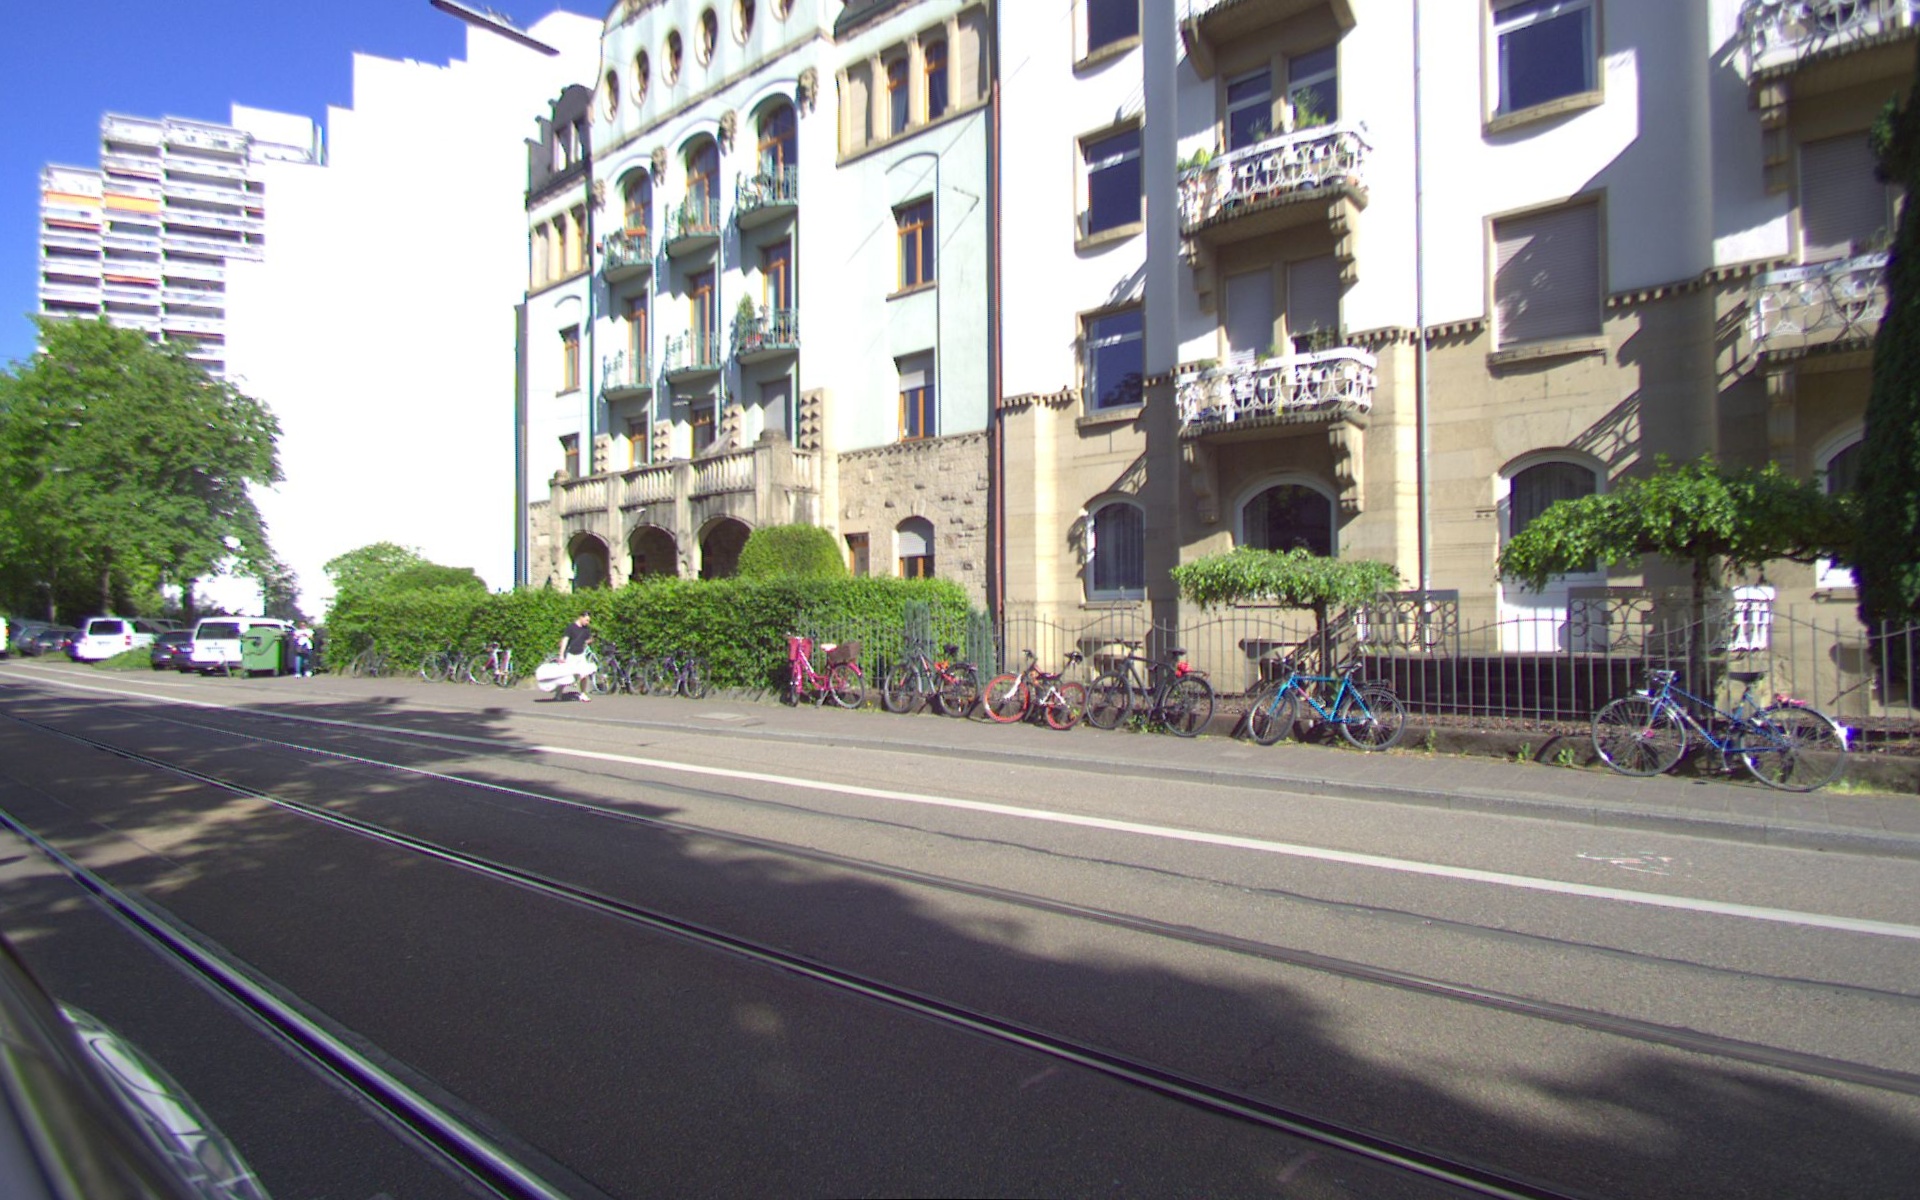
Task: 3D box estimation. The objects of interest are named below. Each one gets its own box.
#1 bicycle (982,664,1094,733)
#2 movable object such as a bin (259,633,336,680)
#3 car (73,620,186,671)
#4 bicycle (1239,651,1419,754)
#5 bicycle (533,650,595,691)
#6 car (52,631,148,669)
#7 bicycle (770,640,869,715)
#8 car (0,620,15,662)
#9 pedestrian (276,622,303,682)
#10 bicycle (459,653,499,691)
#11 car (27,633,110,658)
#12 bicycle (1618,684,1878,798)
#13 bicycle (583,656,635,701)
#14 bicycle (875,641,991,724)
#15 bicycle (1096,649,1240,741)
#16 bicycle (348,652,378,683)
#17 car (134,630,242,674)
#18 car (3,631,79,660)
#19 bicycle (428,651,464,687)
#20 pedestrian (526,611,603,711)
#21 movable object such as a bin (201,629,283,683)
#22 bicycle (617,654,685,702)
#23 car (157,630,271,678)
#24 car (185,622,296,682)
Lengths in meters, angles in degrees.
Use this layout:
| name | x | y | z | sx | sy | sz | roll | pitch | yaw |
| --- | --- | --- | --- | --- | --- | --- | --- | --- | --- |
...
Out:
| name | x | y | z | sx | sy | sz | roll | pitch | yaw |
| --- | --- | --- | --- | --- | --- | --- | --- | --- | --- |
| bicycle | 0.967 | 1.225 | 12.861 | 1.542 | 0.767 | 0.314 | -1 | 0 | 41 |
| movable object such as a bin | -20.464 | 1.716 | 31.265 | 2.095 | 1.326 | 1.482 | -1 | 0 | 41 |
| car | -33.301 | 1.792 | 40.698 | 1.894 | 1.885 | 3.447 | -1 | 0 | -4 |
| bicycle | 3.828 | 1.038 | 10.608 | 1.748 | 0.949 | 0.400 | -1 | 0 | 41 |
| bicycle | -8.576 | 1.519 | 21.947 | 0.297 | 0.799 | 1.246 | -1 | 0 | 41 |
| car | -36.172 | 2.082 | 42.594 | 1.451 | 1.446 | 2.734 | -1 | 0 | 24 |
| bicycle | -2.164 | 1.154 | 15.444 | 1.815 | 1.031 | 0.400 | -1 | 0 | 41 |
| car | -46.825 | 1.974 | 48.473 | 1.968 | 1.918 | 4.008 | -1 | 0 | -39 |
| pedestrian | -18.915 | 1.455 | 28.545 | 0.659 | 1.641 | 0.469 | -1 | 0 | 41 |
| bicycle | -10.612 | 1.581 | 22.327 | 1.263 | 0.767 | 0.314 | -1 | 0 | 41 |
| car | -42.929 | 2.177 | 48.773 | 1.220 | 1.097 | 2.734 | -1 | 0 | 24 |
| bicycle | 6.410 | 1.118 | 8.309 | 1.651 | 0.767 | 0.314 | -1 | 0 | 41 |
| bicycle | -6.688 | 1.482 | 19.263 | 1.263 | 0.767 | 0.335 | -1 | 0 | 41 |
| bicycle | -0.404 | 1.111 | 14.020 | 1.815 | 1.031 | 0.400 | -1 | 0 | 41 |
| bicycle | 2.397 | 1.078 | 11.786 | 1.648 | 0.949 | 0.400 | -1 | 0 | 41 |
| bicycle | -15.646 | 1.759 | 26.497 | 1.263 | 0.767 | 0.293 | -1 | 0 | 41 |
| car | -27.691 | 1.829 | 36.355 | 1.451 | 1.446 | 2.734 | -1 | 0 | 24 |
| car | -48.453 | 2.375 | 53.380 | 1.220 | 1.436 | 2.734 | -1 | 0 | 24 |
| bicycle | -11.957 | 1.598 | 23.509 | 1.263 | 0.767 | 0.293 | -1 | 0 | 41 |
| pedestrian | -7.015 | 1.057 | 17.969 | 0.870 | 1.640 | 0.858 | -1 | 4 | 41 |
| movable object such as a bin | -20.816 | 1.588 | 29.342 | 2.095 | 1.443 | 1.493 | -1 | 0 | 41 |
| bicycle | -5.583 | 1.389 | 18.244 | 1.581 | 0.767 | 0.400 | -1 | 0 | 41 |
| car | -25.134 | 1.796 | 34.166 | 1.451 | 1.446 | 2.734 | -1 | 0 | 24 |
| car | -22.831 | 1.651 | 32.234 | 1.438 | 1.787 | 3.189 | -1 | -3 | -5 |
